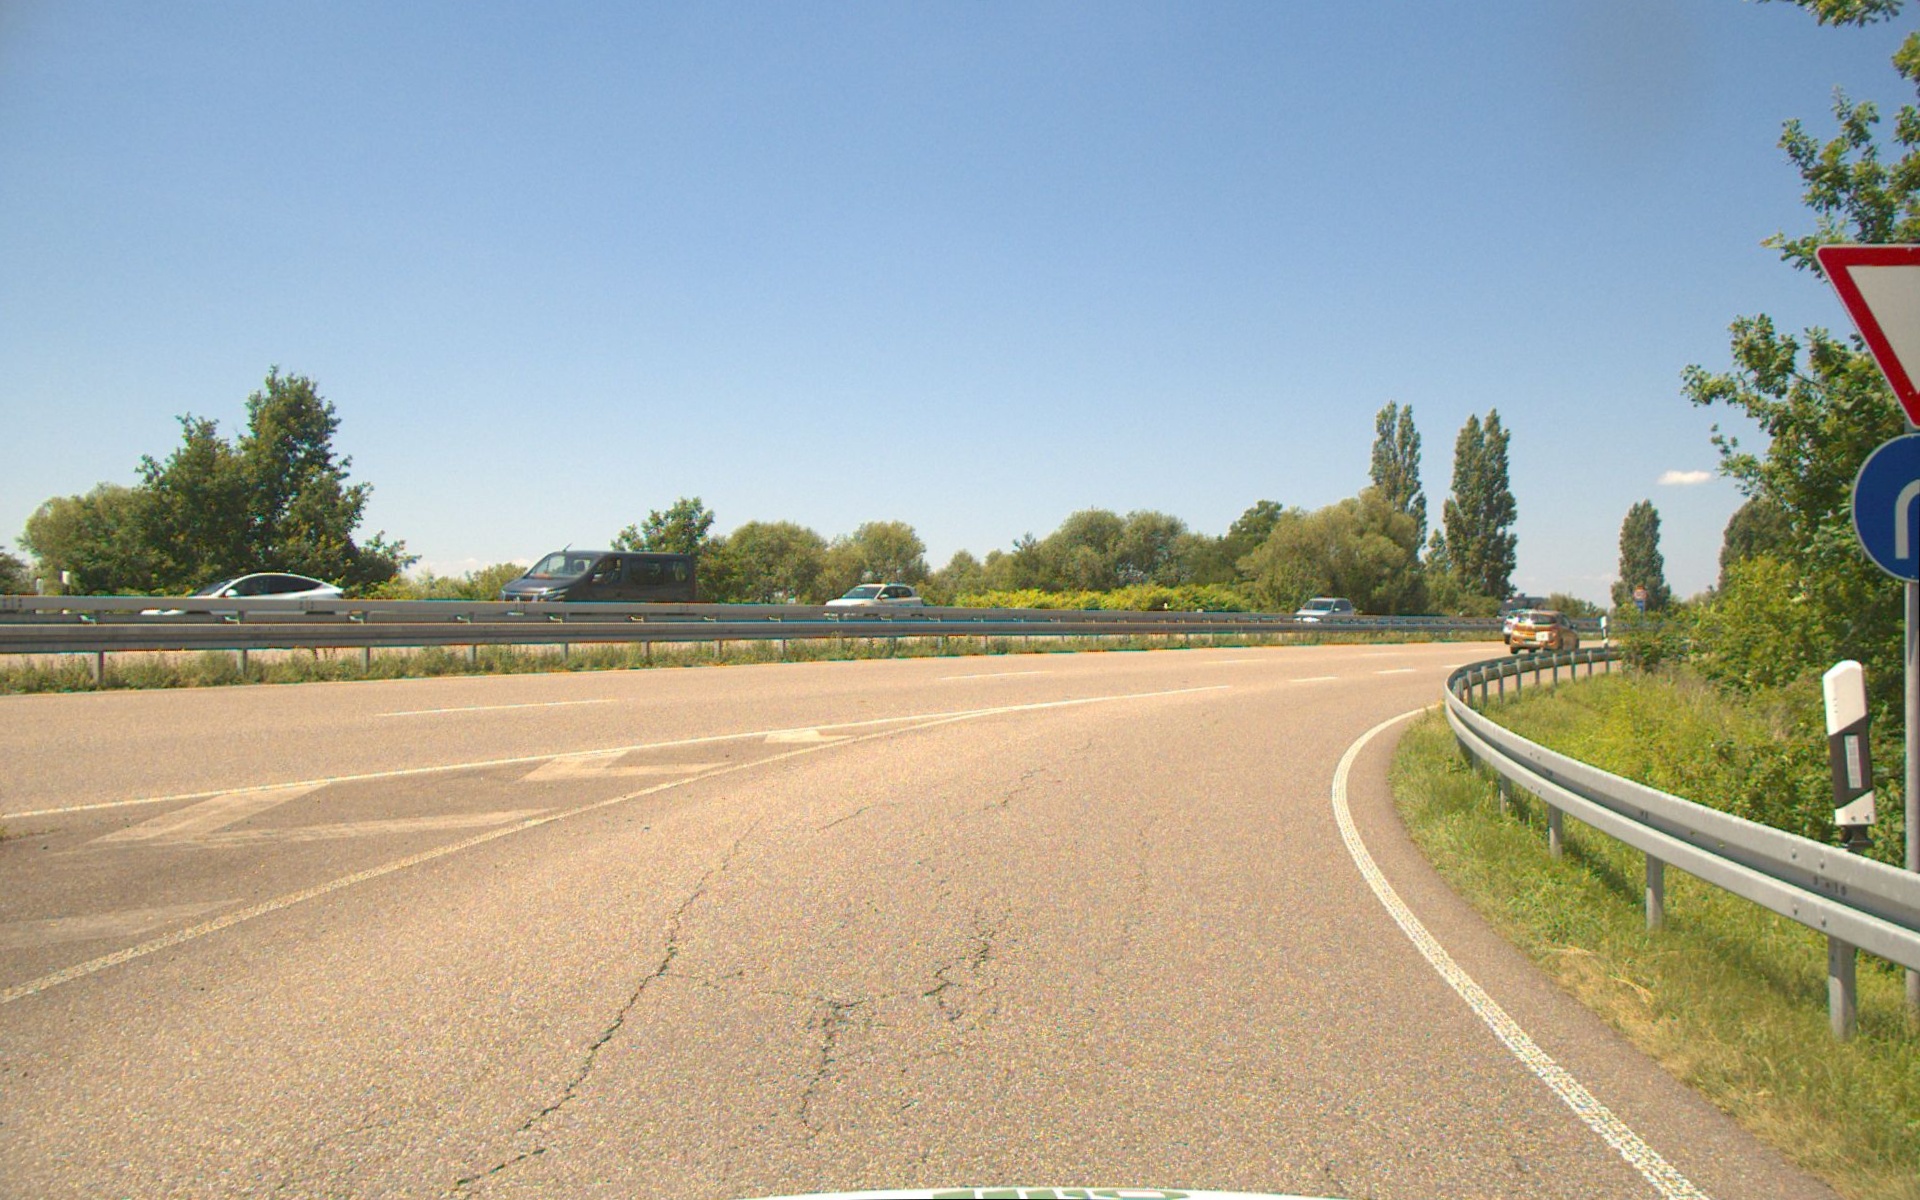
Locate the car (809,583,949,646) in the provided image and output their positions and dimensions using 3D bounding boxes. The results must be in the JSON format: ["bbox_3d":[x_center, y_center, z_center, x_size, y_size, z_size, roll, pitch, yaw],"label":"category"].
[{"bbox_3d":[-2.665,0.508,55.628,2.166,1.926,4.895,1,-2,35],"label":"car"}]

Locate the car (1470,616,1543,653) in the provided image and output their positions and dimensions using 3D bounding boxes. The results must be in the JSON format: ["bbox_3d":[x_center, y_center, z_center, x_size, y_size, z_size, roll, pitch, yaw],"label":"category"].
[{"bbox_3d":[23.461,1.461,70.885,1.811,1.476,3.984,3,1,36],"label":"car"}]

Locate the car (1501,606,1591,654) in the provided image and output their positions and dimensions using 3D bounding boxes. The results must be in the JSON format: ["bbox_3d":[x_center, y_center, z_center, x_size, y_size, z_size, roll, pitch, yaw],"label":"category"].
[{"bbox_3d":[20.086,1.020,56.584,1.811,1.489,3.984,3,1,36],"label":"car"}]

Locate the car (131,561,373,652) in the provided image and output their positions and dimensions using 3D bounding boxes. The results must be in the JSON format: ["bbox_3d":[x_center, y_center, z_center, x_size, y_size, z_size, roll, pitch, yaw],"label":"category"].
[{"bbox_3d":[-16.655,0.184,39.088,1.908,1.926,4.879,1,-2,43],"label":"car"}]

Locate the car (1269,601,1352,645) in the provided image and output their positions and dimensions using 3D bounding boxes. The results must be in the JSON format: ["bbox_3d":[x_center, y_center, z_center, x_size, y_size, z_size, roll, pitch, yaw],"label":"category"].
[{"bbox_3d":[16.808,1.103,79.184,2.166,1.926,4.896,1,-2,34],"label":"car"}]

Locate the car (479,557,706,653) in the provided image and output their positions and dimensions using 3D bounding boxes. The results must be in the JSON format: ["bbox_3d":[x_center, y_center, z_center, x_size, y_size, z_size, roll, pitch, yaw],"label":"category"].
[{"bbox_3d":[-8.087,0.154,36.893,2.163,1.926,4.901,1,-2,30],"label":"car"}]
